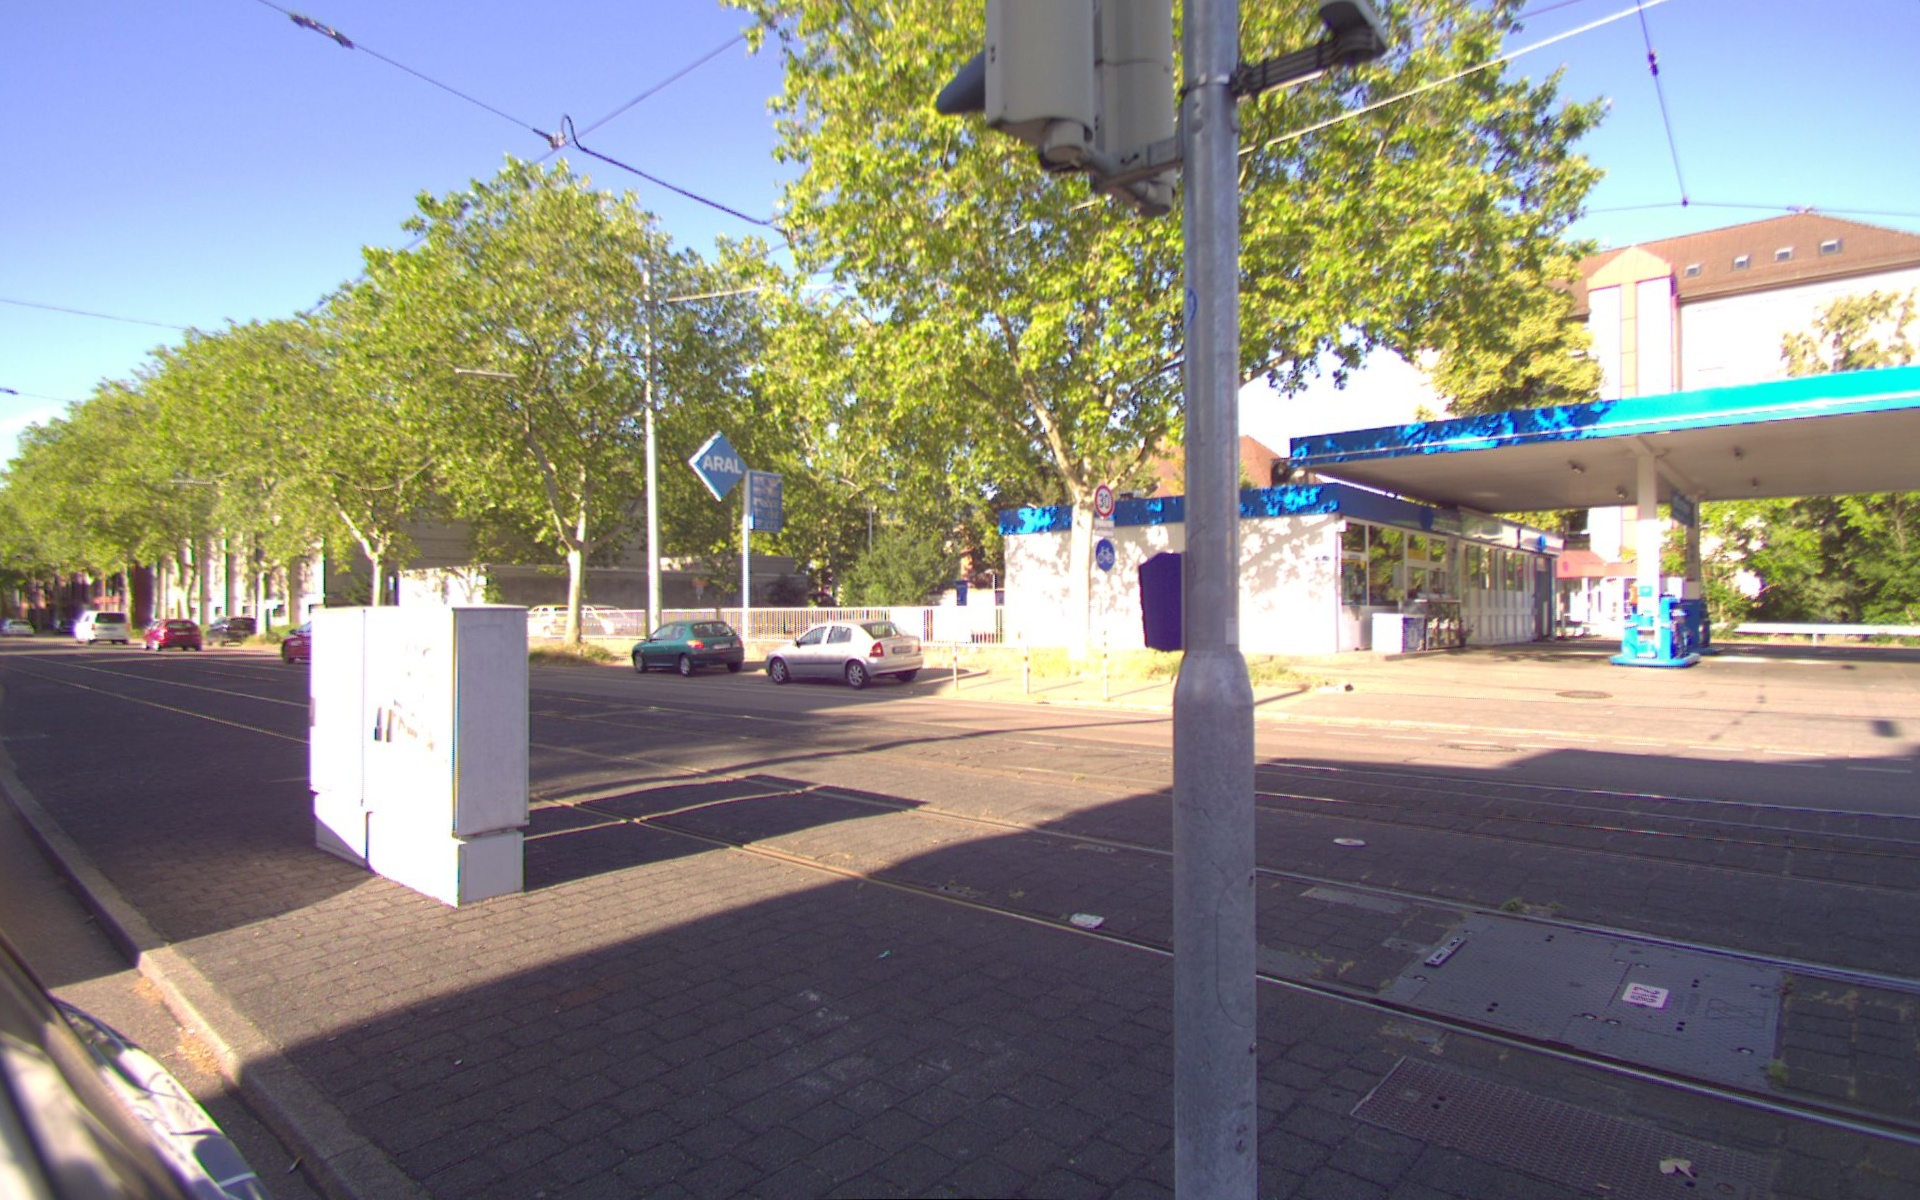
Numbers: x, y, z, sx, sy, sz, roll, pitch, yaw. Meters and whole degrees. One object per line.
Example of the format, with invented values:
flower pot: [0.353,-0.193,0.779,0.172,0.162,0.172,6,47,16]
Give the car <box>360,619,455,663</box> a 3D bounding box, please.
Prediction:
car: [-22.030,1.578,40.293,4.431,1.534,1.731,-1,3,40]

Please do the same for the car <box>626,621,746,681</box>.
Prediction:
car: [-7.285,1.306,26.784,3.253,1.431,1.526,-1,0,41]

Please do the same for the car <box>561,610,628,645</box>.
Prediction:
car: [-15.806,1.143,43.701,3.151,1.431,1.525,-1,0,44]

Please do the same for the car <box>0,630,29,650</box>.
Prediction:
car: [-77.247,3.256,82.381,3.998,1.507,1.741,-1,0,41]

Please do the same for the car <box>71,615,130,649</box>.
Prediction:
car: [-49.813,1.820,58.654,4.390,1.860,1.827,-1,-2,39]

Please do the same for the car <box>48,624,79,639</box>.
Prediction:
car: [-85.180,2.990,96.165,3.998,1.420,1.678,-1,-2,41]

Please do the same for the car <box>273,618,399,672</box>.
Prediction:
car: [-19.333,1.344,31.273,4.761,1.534,1.887,-1,-2,40]

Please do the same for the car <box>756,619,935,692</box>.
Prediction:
car: [-2.612,1.168,22.564,3.998,1.431,1.709,-1,0,41]

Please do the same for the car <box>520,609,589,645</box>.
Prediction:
car: [-16.820,1.102,41.962,3.151,1.431,1.525,-1,0,44]

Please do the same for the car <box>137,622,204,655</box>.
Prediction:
car: [-36.003,1.729,46.111,3.998,1.431,1.678,-1,-2,41]

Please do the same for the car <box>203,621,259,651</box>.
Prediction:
car: [-40.734,1.990,56.535,3.998,1.587,1.678,-1,-2,41]

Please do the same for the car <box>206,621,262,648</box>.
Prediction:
car: [-40.599,1.898,56.576,3.998,1.420,1.678,-1,-2,41]

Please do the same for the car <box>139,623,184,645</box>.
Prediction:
car: [-53.809,2.302,68.200,3.998,1.420,1.678,-1,-2,41]

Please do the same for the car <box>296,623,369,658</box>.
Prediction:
car: [-28.196,1.795,45.447,3.998,1.480,1.678,-1,-2,41]
